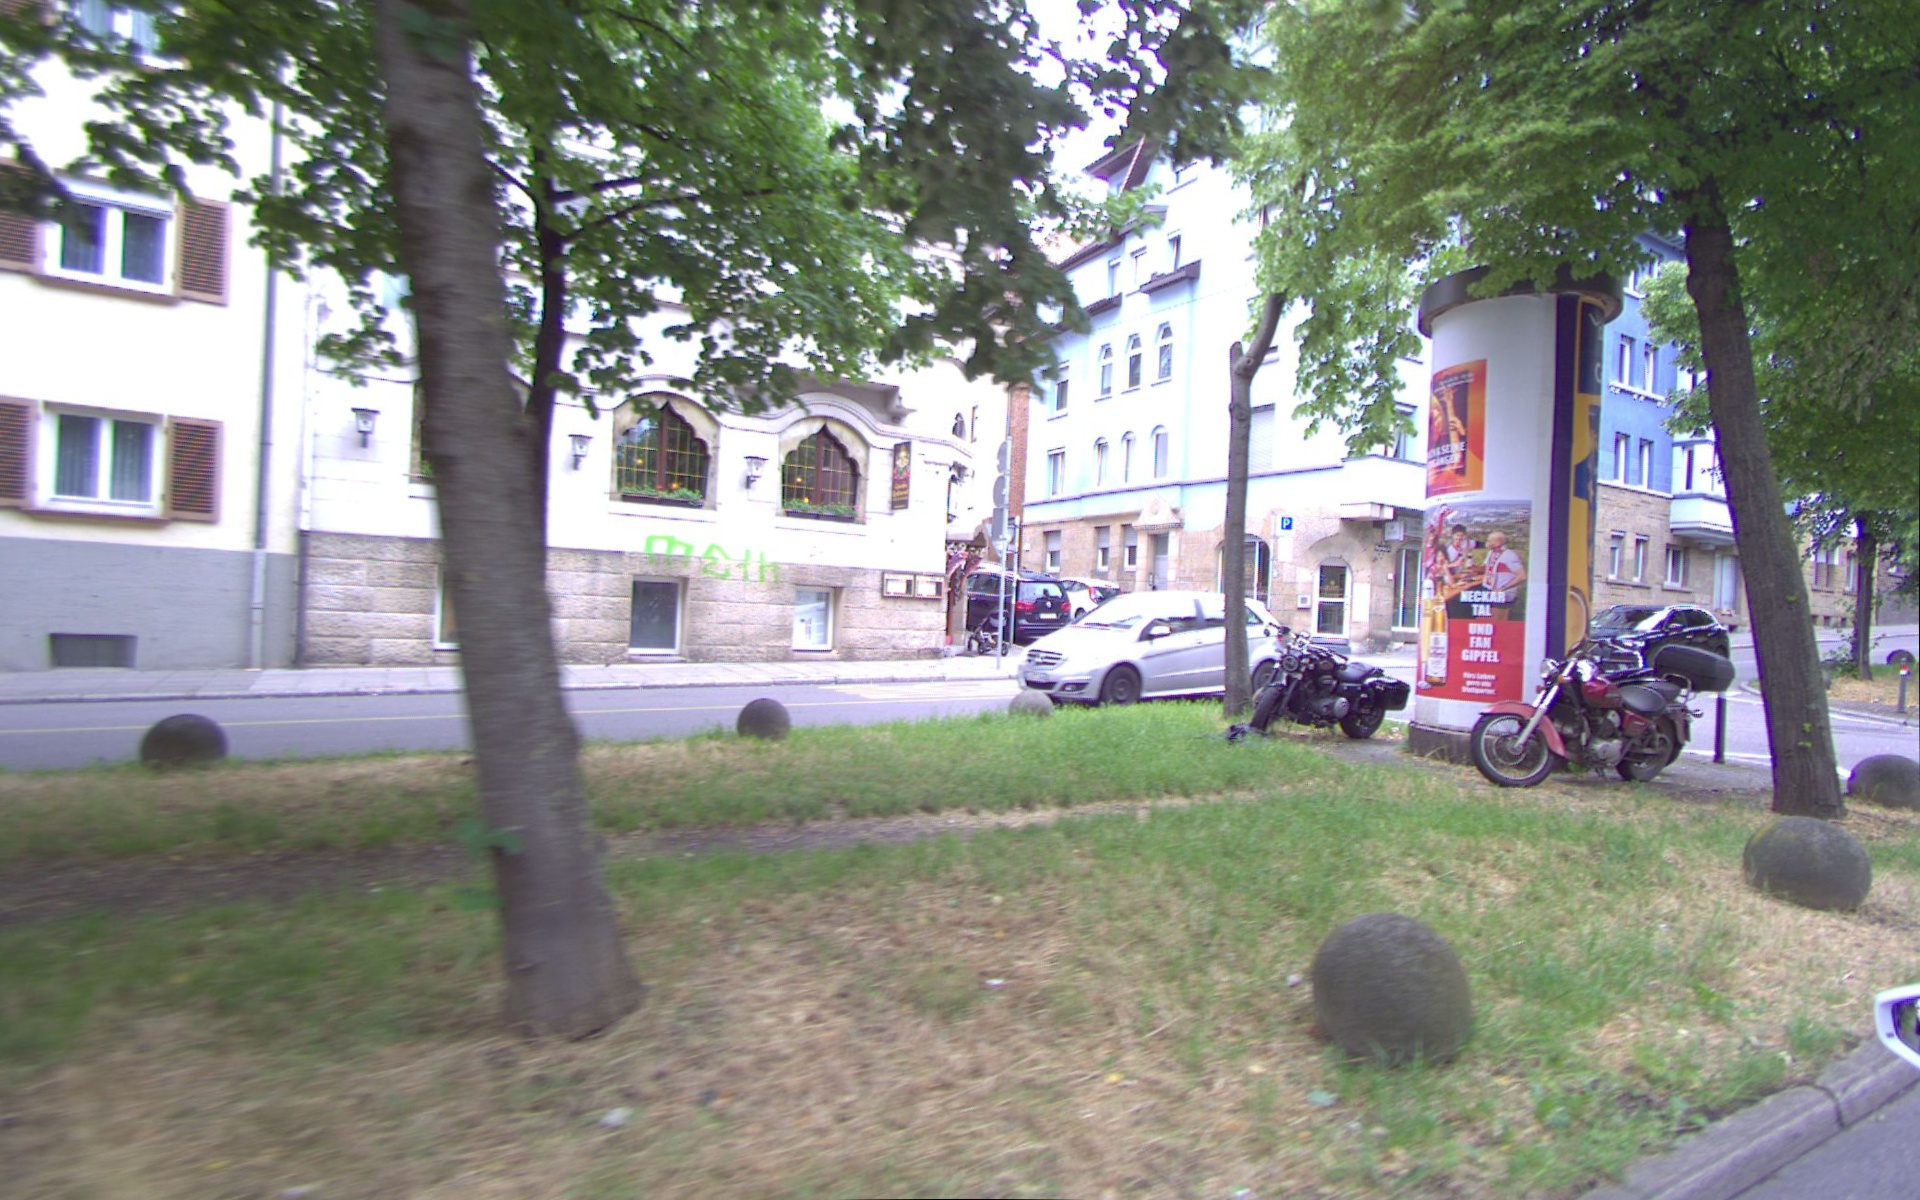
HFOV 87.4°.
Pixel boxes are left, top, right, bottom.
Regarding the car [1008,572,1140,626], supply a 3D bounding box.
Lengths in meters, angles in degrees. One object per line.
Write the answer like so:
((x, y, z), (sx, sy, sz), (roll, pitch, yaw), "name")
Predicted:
((3.532, -0.057, 32.048), (1.973, 1.598, 4.785), (1, 1, -25), "car")

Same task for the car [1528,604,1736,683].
((14.510, 0.893, 21.654), (4.479, 1.503, 1.984), (1, 1, -31), "car")

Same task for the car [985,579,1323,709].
((2.901, 0.574, 14.750), (4.759, 1.646, 1.984), (1, 1, -31), "car")

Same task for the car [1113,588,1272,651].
((6.131, 0.480, 26.945), (1.976, 1.517, 3.968), (1, 1, -30), "car")

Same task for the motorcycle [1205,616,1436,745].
((3.554, 0.770, 9.847), (2.225, 1.121, 0.896), (3, -1, -30), "motorcycle")

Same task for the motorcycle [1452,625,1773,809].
((4.954, 0.791, 7.590), (2.419, 1.164, 1.057), (1, 0, -30), "motorcycle")

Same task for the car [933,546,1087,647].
((1.178, -0.185, 26.559), (1.973, 2.081, 4.784), (0, 6, -25), "car")
